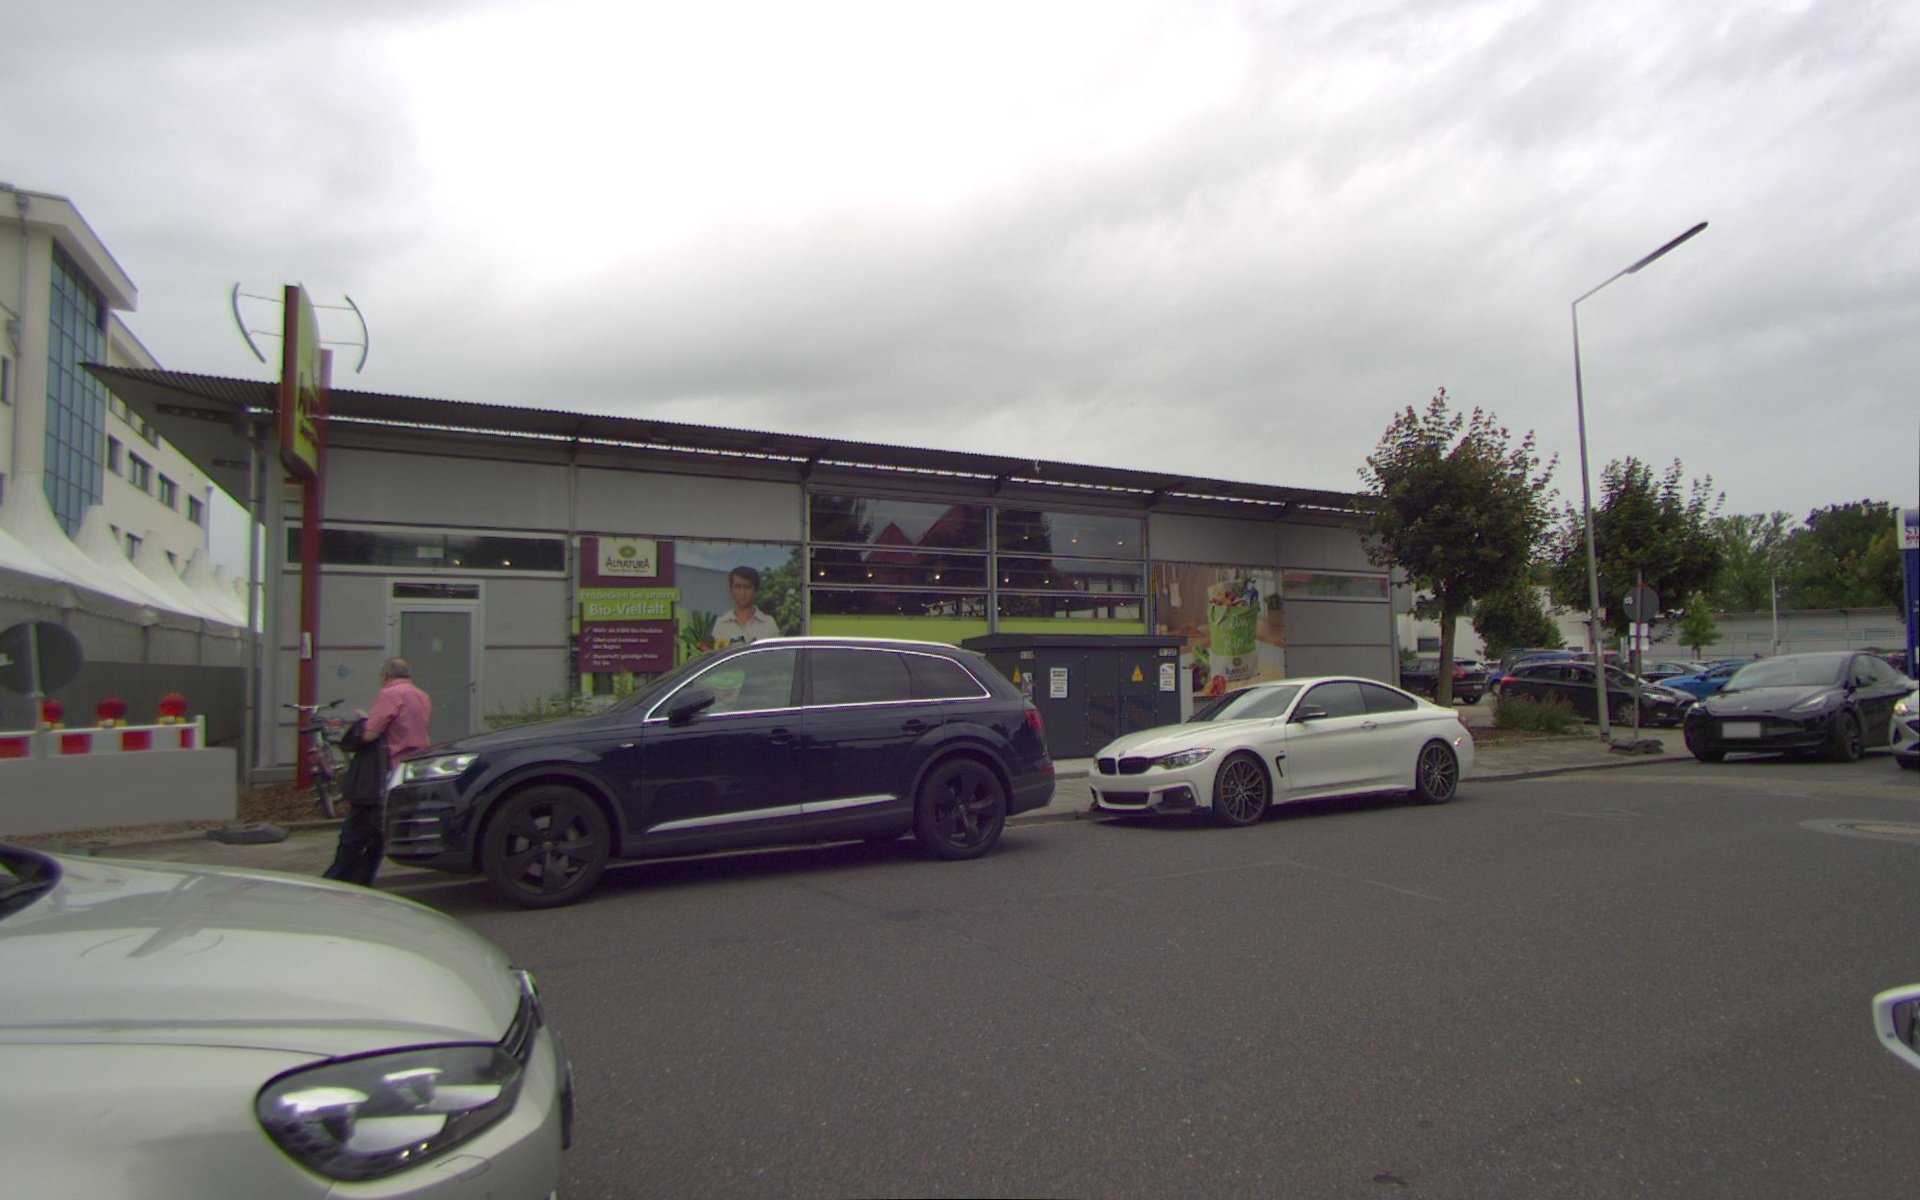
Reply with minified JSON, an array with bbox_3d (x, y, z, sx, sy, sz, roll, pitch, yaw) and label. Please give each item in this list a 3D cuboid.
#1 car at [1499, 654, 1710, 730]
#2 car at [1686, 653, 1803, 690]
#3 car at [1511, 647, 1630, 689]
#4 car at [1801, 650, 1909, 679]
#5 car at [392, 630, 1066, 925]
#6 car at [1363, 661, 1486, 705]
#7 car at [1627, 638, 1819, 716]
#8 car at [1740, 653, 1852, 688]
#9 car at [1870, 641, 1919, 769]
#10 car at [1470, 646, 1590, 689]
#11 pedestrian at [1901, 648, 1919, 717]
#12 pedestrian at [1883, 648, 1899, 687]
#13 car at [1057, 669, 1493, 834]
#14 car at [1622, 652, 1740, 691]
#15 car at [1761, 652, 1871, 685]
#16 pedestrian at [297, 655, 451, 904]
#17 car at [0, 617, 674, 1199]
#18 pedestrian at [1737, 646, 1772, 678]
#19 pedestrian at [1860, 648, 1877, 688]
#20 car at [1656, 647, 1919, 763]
[{"bbox_3d":[15.420,2.137,24.255,1.903,1.641,3.860,1,-3,-27],"label":"car"},{"bbox_3d":[37.503,3.412,48.131,1.853,1.690,3.973,1,-4,-27],"label":"car"},{"bbox_3d":[26.129,2.915,43.136,1.853,1.690,3.973,1,-4,-27],"label":"car"},{"bbox_3d":[48.479,3.523,54.482,1.763,1.511,3.974,1,-4,-27],"label":"car"},{"bbox_3d":[-1.667,1.194,7.814,4.668,1.712,1.860,1,-7,-28],"label":"car"},{"bbox_3d":[16.924,3.003,36.598,3.928,1.504,1.874,-3,-4,28],"label":"car"},{"bbox_3d":[21.433,2.170,28.363,1.743,2.039,3.906,2,-5,-34],"label":"car"},{"bbox_3d":[42.793,3.622,51.483,1.853,1.690,3.973,1,-4,-27],"label":"car"},{"bbox_3d":[13.404,1.303,12.741,3.484,1.547,1.593,2,-6,-28],"label":"car"},{"bbox_3d":[23.833,2.847,42.155,1.853,1.690,3.973,1,-4,-27],"label":"car"},{"bbox_3d":[24.586,2.094,25.544,0.689,1.737,0.771,2,-3,-32],"label":"pedestrian"},{"bbox_3d":[38.565,2.788,41.619,0.500,1.590,0.356,2,-4,-39],"label":"pedestrian"},{"bbox_3d":[3.373,1.510,10.572,4.463,1.384,1.693,2,-9,-29],"label":"car"},{"bbox_3d":[33.106,3.295,46.218,1.853,1.690,3.973,1,-4,-27],"label":"car"},{"bbox_3d":[44.870,3.599,52.742,1.853,1.690,3.973,1,-4,-27],"label":"car"},{"bbox_3d":[-4.158,1.251,7.162,0.641,1.641,0.675,-6,-8,25],"label":"pedestrian"},{"bbox_3d":[-2.722,0.777,1.333,4.245,1.470,1.746,1,-4,-29],"label":"car"},{"bbox_3d":[51.123,4.003,64.628,1.361,2.039,1.211,-2,-4,22],"label":"pedestrian"},{"bbox_3d":[38.118,2.869,42.154,0.450,1.663,0.372,-4,-5,44],"label":"pedestrian"},{"bbox_3d":[12.930,1.587,15.405,4.351,1.545,1.940,2,-8,-30],"label":"car"}]
